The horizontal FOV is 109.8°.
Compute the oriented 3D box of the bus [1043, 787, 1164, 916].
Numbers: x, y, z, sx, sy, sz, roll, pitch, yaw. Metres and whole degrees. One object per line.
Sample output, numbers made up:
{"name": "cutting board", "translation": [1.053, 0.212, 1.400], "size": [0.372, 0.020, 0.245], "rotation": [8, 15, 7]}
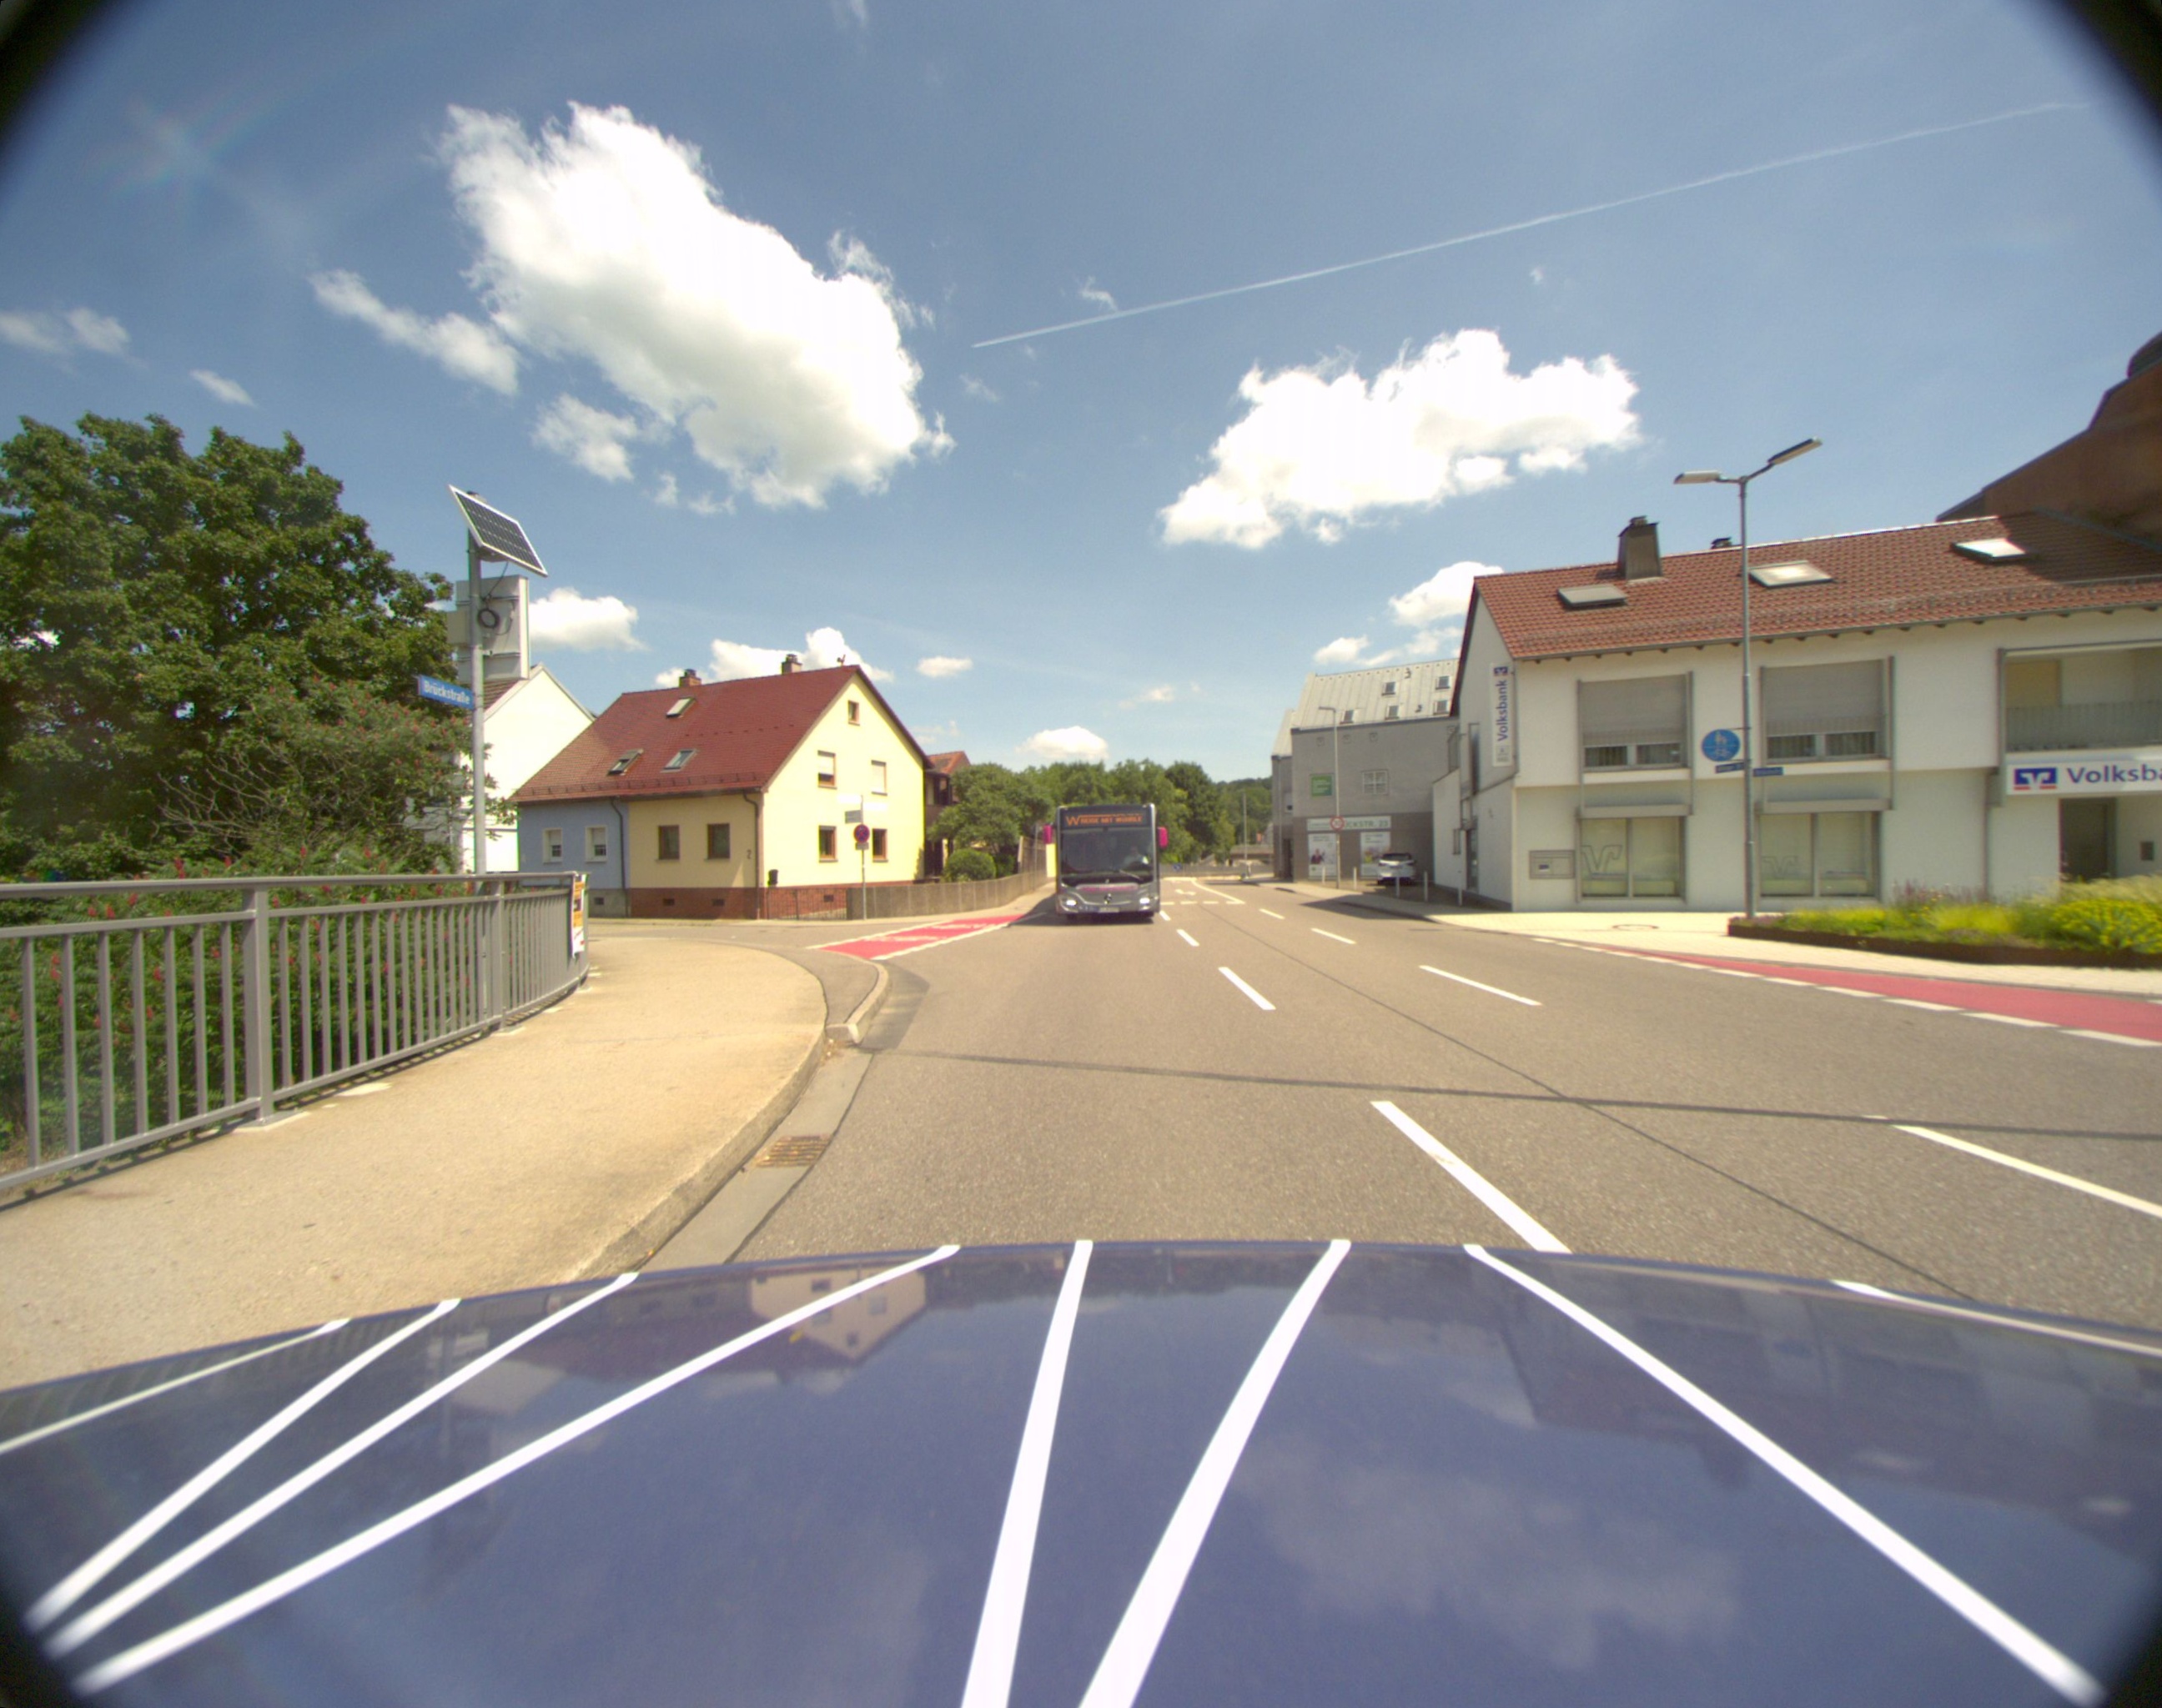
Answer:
{"name": "bus", "translation": [0.896, 0.083, 22.079], "size": [2.754, 2.949, 9.287], "rotation": [0, -2, 5]}

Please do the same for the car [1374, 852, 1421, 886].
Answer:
{"name": "car", "translation": [15.509, 0.705, 37.140], "size": [1.995, 1.565, 4.260], "rotation": [0, 0, 24]}

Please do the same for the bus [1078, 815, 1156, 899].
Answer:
{"name": "bus", "translation": [1.606, 0.228, 31.457], "size": [2.754, 2.949, 9.286], "rotation": [0, -2, 4]}
